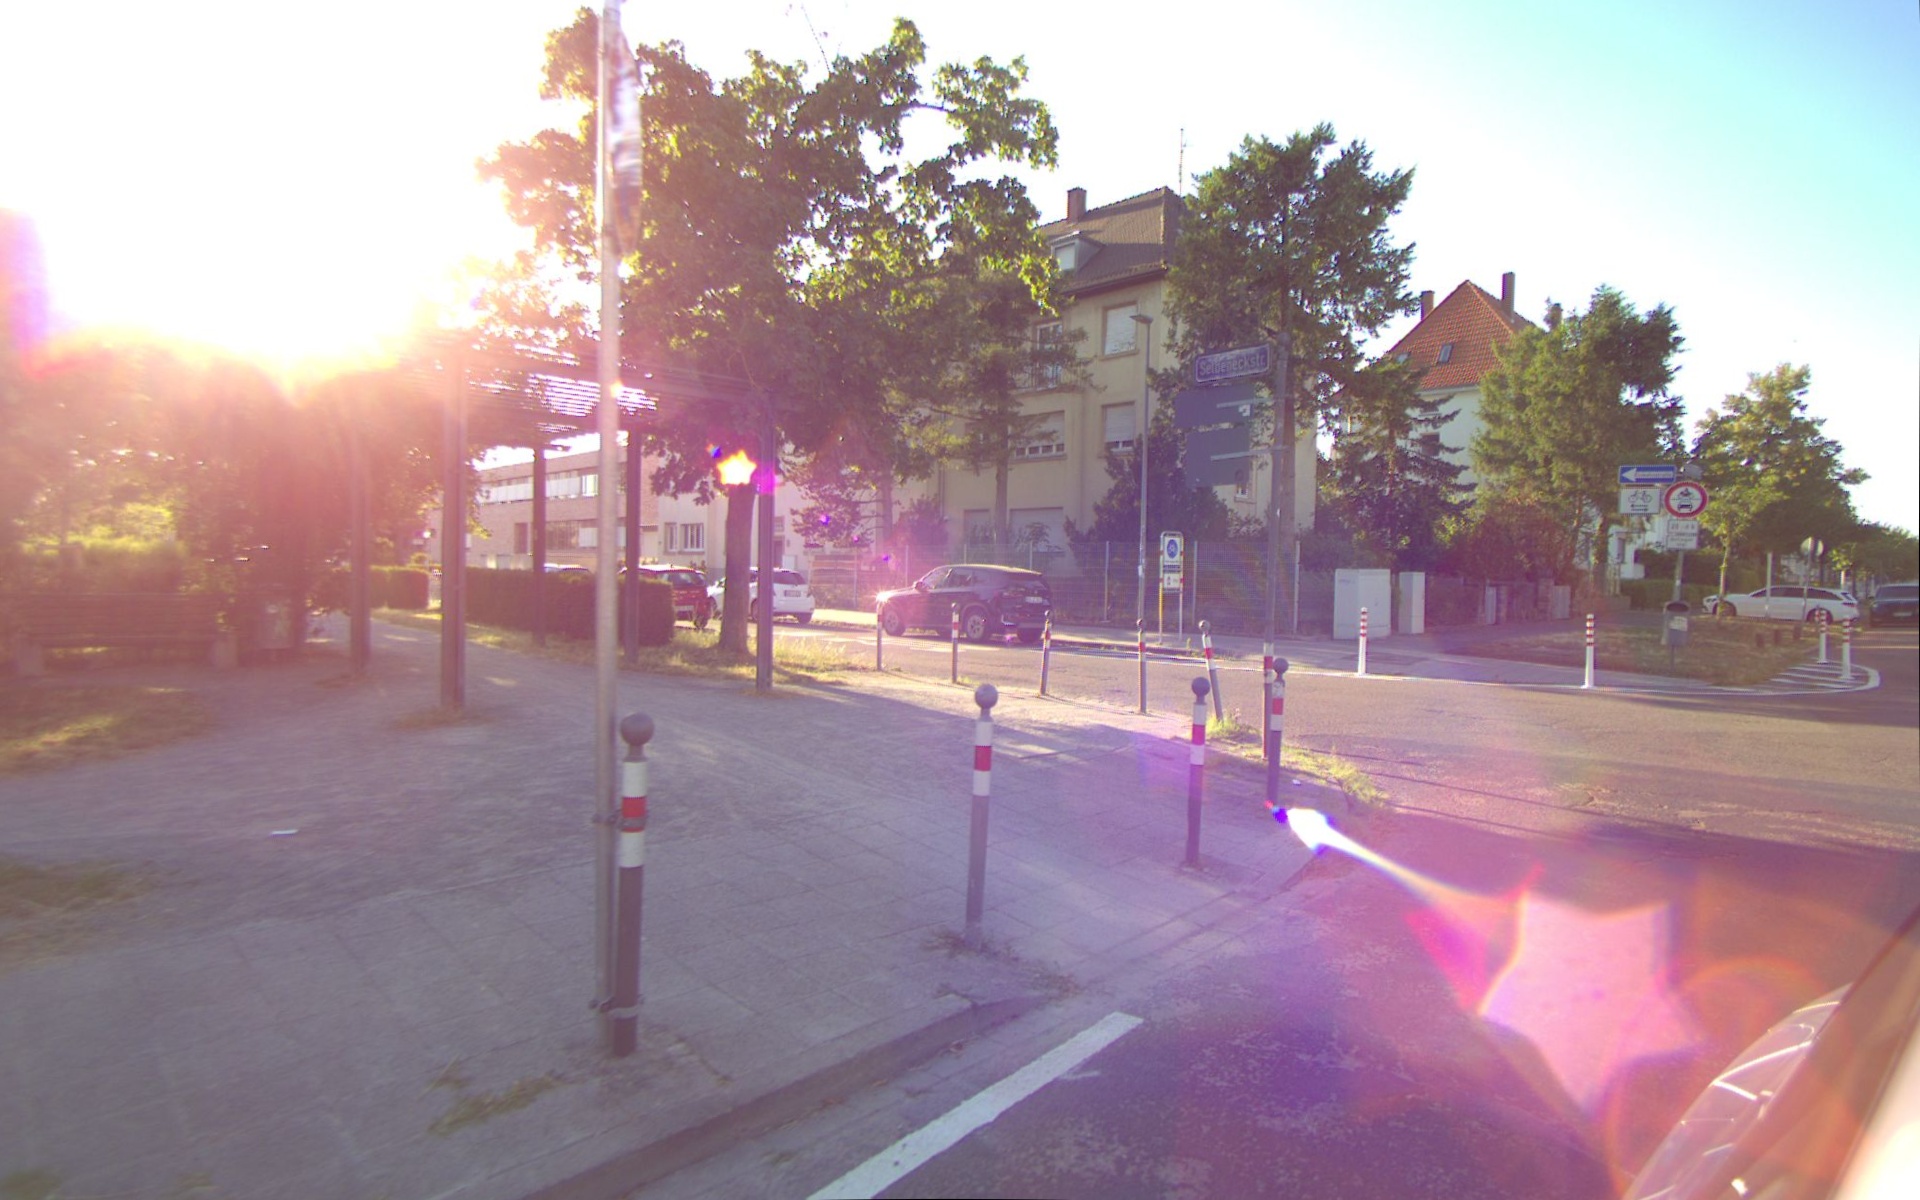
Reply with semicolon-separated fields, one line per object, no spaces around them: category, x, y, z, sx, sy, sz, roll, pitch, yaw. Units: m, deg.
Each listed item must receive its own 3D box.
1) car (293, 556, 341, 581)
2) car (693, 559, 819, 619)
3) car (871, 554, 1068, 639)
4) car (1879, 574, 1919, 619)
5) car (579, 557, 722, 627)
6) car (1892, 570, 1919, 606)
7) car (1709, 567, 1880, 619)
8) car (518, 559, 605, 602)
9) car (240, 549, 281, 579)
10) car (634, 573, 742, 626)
car;-40.075;-1.971;63.036;3.749;1.537;1.735;2;3;44
car;-5.759;-0.364;28.376;1.742;1.544;3.765;-2;3;-43
car;0.122;-0.110;21.889;1.792;1.662;4.207;2;0;-44
car;37.098;-0.164;39.315;1.964;1.633;4.184;2;2;42
car;-7.518;-0.250;24.446;1.743;1.544;3.762;-3;3;-45
car;45.394;-0.563;47.738;1.964;1.633;4.184;2;2;42
car;31.705;-0.332;38.540;4.825;1.633;1.941;5;5;44
car;-15.311;-0.803;38.827;3.762;1.544;1.743;2;3;45
car;-52.362;-2.705;75.736;1.967;2.150;3.992;-1;2;-43
car;-8.633;-0.071;31.996;1.707;1.537;3.751;-1;3;-44
